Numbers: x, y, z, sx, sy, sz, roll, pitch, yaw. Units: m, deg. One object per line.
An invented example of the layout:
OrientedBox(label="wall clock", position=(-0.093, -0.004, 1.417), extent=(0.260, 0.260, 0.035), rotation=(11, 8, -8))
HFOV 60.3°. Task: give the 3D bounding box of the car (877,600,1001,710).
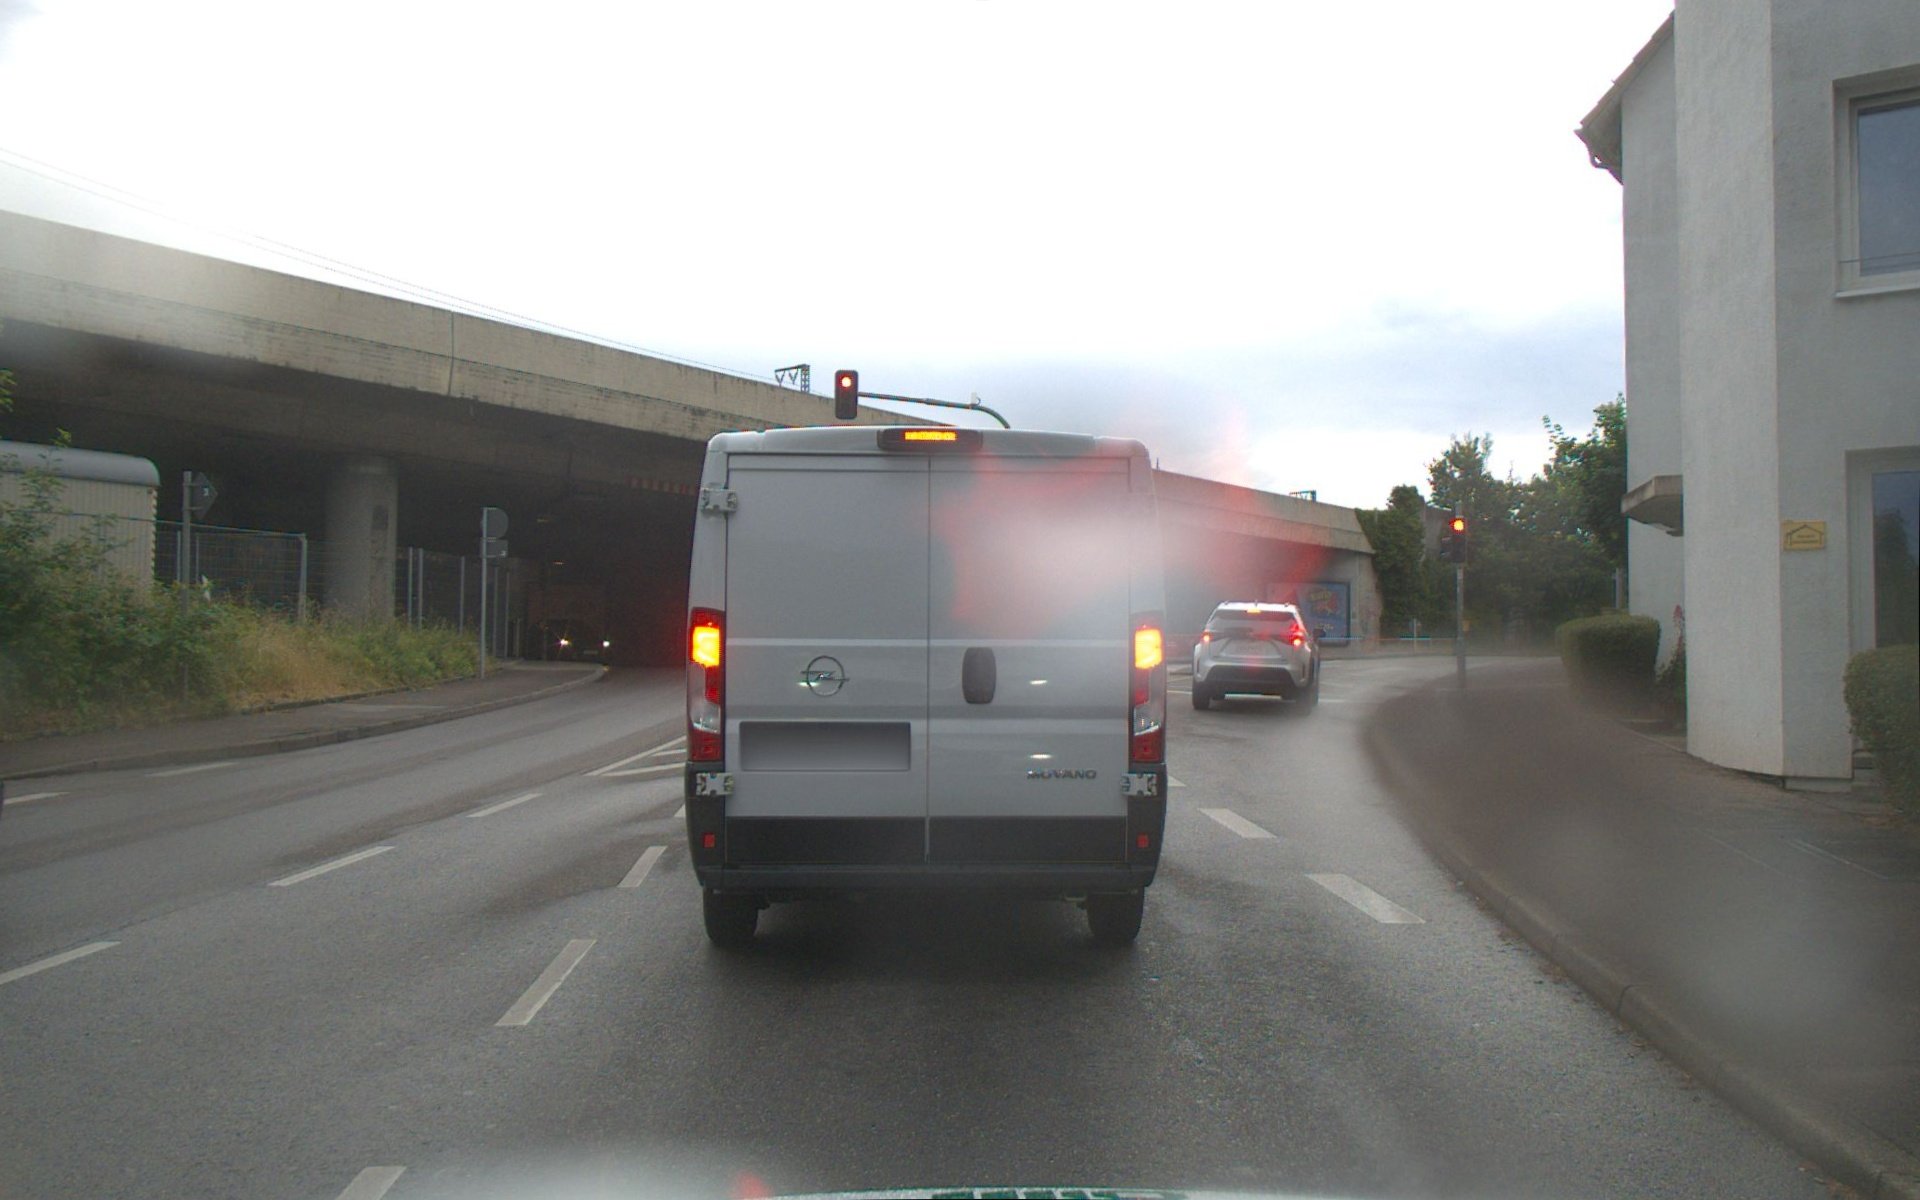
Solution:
OrientedBox(label="car", position=(-0.285, 0.931, 28.625), extent=(1.952, 1.759, 4.000), rotation=(0, -2, 2))

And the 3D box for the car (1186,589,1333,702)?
OrientedBox(label="car", position=(4.654, 0.689, 25.306), extent=(1.951, 1.576, 4.003), rotation=(0, -2, 14))

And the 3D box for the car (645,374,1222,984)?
OrientedBox(label="car", position=(-0.038, 0.310, 9.135), extent=(2.257, 2.384, 5.283), rotation=(0, 0, 1))

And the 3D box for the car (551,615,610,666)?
OrientedBox(label="car", position=(-13.170, 1.363, 57.290), extent=(1.882, 1.655, 4.417), rotation=(0, 0, -15))

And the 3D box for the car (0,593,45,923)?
OrientedBox(label="car", position=(-5.591, 0.749, 6.173), extent=(1.803, 1.597, 4.413), rotation=(0, -1, 1))
